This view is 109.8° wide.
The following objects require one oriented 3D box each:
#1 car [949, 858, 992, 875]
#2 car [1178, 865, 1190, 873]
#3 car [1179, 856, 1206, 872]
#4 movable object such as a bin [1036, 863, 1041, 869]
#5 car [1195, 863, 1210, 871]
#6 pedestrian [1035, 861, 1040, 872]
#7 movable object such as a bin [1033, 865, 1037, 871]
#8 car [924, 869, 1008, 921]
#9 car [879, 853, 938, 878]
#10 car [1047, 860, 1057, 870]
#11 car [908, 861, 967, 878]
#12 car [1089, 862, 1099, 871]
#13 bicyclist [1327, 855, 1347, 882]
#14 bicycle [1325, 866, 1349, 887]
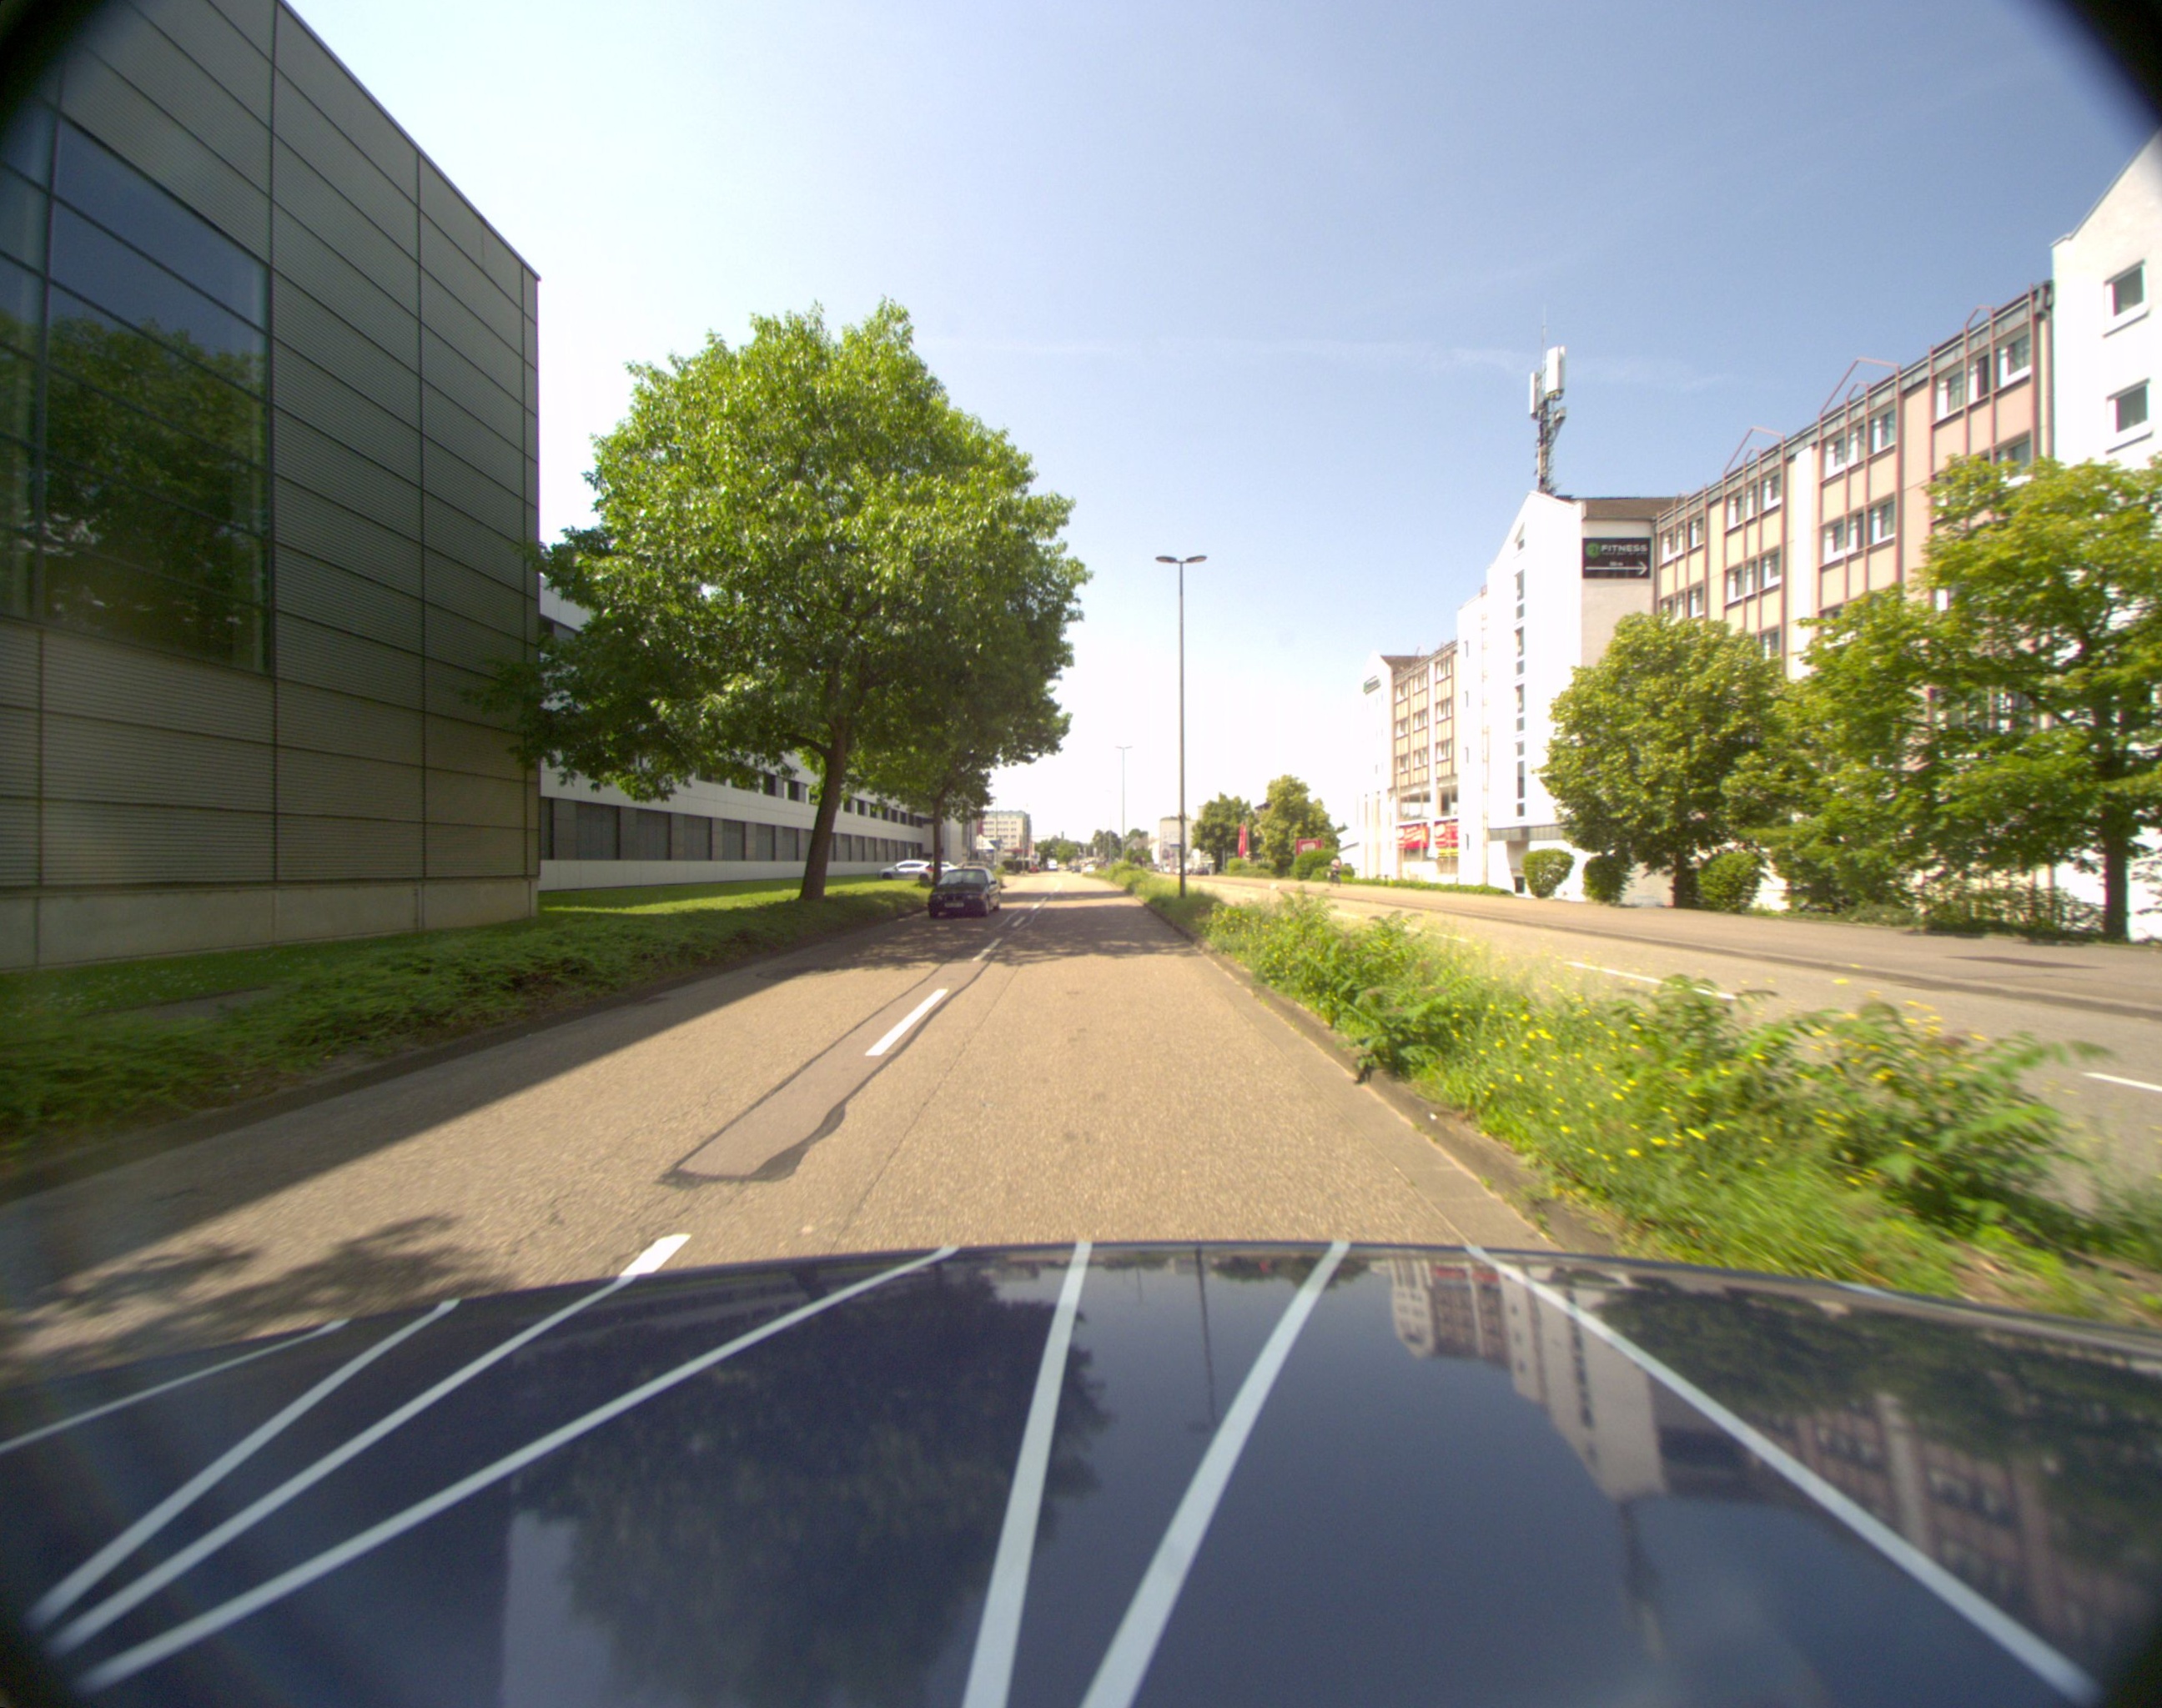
[{"bbox_3d":[-11.450,1.254,78.939,4.271,1.679,1.999,1,0,-4],"label":"car"},{"bbox_3d":[17.179,2.474,126.850,1.780,1.402,4.761,1,-1,4],"label":"car"},{"bbox_3d":[20.542,1.819,139.727,4.557,1.699,1.760,-14,0,4],"label":"car"},{"bbox_3d":[-9.850,2.715,175.636,1.133,1.461,1.490,0,0,1],"label":"movable object such as a bin"},{"bbox_3d":[20.030,2.093,125.849,1.737,1.343,4.000,0,-1,-2],"label":"car"},{"bbox_3d":[-7.483,2.128,130.159,0.787,1.836,0.936,0,0,3],"label":"pedestrian"},{"bbox_3d":[-8.044,2.428,132.260,0.552,0.914,0.653,3,0,1],"label":"movable object such as a bin"},{"bbox_3d":[-3.300,1.153,22.525,1.631,1.331,3.758,-1,-1,4],"label":"car"},{"bbox_3d":[-12.232,0.838,54.160,3.823,1.582,1.732,2,0,-4],"label":"car"},{"bbox_3d":[-7.724,2.970,204.604,2.183,2.757,7.278,2,-1,0],"label":"car"},{"bbox_3d":[-11.855,1.271,63.017,4.627,1.382,1.999,0,0,-4],"label":"car"},{"bbox_3d":[2.175,2.141,130.893,1.693,1.425,3.712,0,-1,1],"label":"car"},{"bbox_3d":[14.267,0.796,42.390,0.719,1.507,1.026,0,0,-3],"label":"bicyclist"},{"bbox_3d":[14.266,1.242,42.335,0.552,1.067,2.062,-1,0,-2],"label":"bicycle"}]
